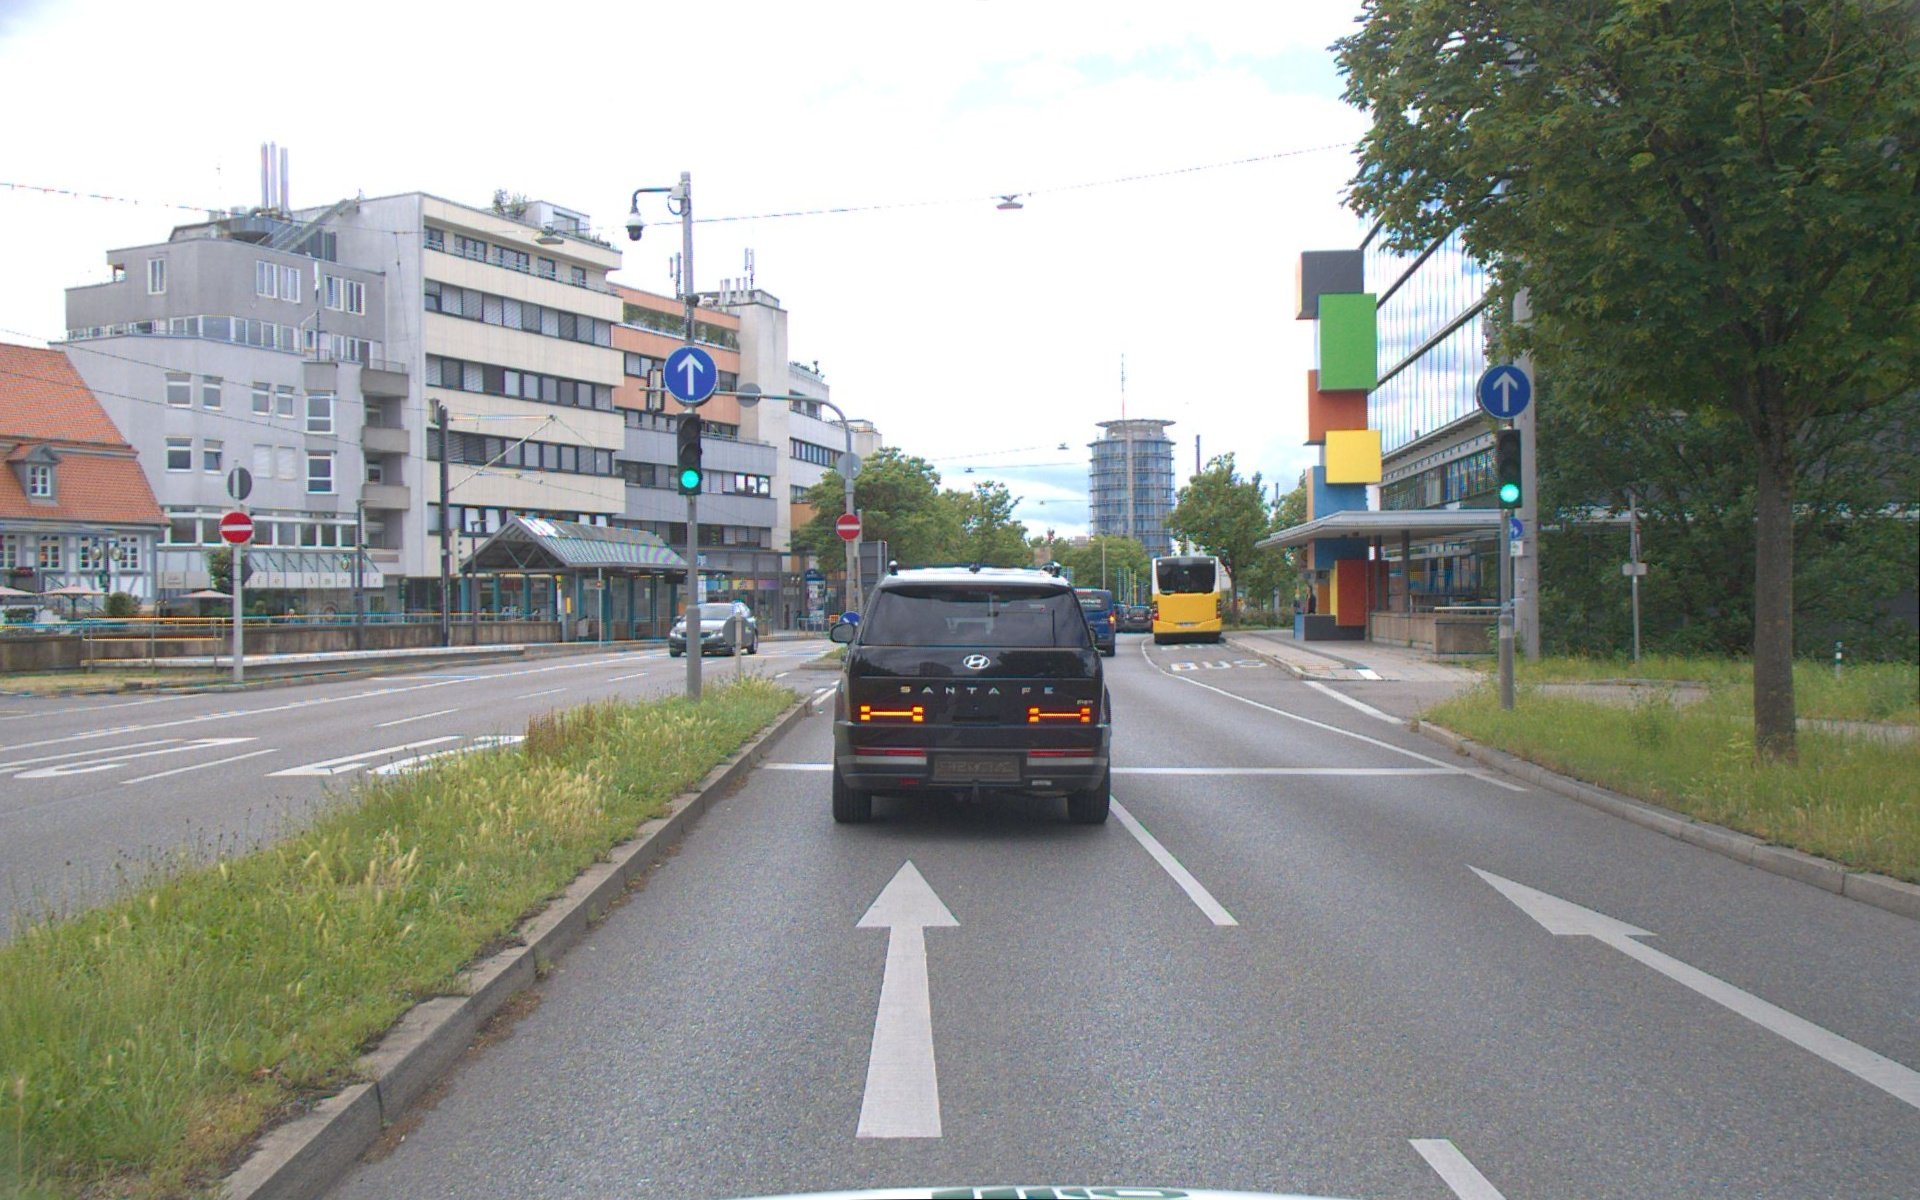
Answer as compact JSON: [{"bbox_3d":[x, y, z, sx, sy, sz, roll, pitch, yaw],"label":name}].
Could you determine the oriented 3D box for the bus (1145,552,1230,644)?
[{"bbox_3d":[8.713,-0.047,63.491,2.903,3.171,9.251,-2,-1,7],"label":"bus"}]

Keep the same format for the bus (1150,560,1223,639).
[{"bbox_3d":[9.943,0.015,72.932,2.889,3.166,9.983,-2,-1,7],"label":"bus"}]

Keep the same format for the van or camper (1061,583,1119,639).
[{"bbox_3d":[4.824,0.391,61.744,1.952,1.951,4.410,0,1,2],"label":"van or camper"}]

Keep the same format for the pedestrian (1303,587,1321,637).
[{"bbox_3d":[11.935,0.408,56.072,0.513,1.702,0.733,-1,-1,6],"label":"pedestrian"}]

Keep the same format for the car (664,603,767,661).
[{"bbox_3d":[-6.646,0.844,45.440,1.760,1.480,4.615,-1,0,5],"label":"car"}]

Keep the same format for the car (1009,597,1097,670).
[{"bbox_3d":[2.171,0.747,39.705,1.863,1.569,4.710,1,1,0],"label":"car"}]

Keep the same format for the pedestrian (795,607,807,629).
[{"bbox_3d":[-12.095,1.367,125.573,0.717,1.702,0.581,-1,-1,30],"label":"pedestrian"}]

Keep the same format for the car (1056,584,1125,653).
[{"bbox_3d":[3.786,0.482,48.521,1.862,1.891,4.711,1,1,3],"label":"car"}]

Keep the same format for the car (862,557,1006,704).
[{"bbox_3d":[-0.494,0.397,25.185,1.865,2.003,4.631,1,1,-5],"label":"car"}]

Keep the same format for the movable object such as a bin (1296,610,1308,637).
[{"bbox_3d":[11.477,0.785,55.496,0.348,0.913,0.462,-1,-1,6],"label":"movable object such as a bin"}]

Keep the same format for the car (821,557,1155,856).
[{"bbox_3d":[-0.007,0.607,12.054,1.865,1.762,4.440,1,1,-6],"label":"car"}]
